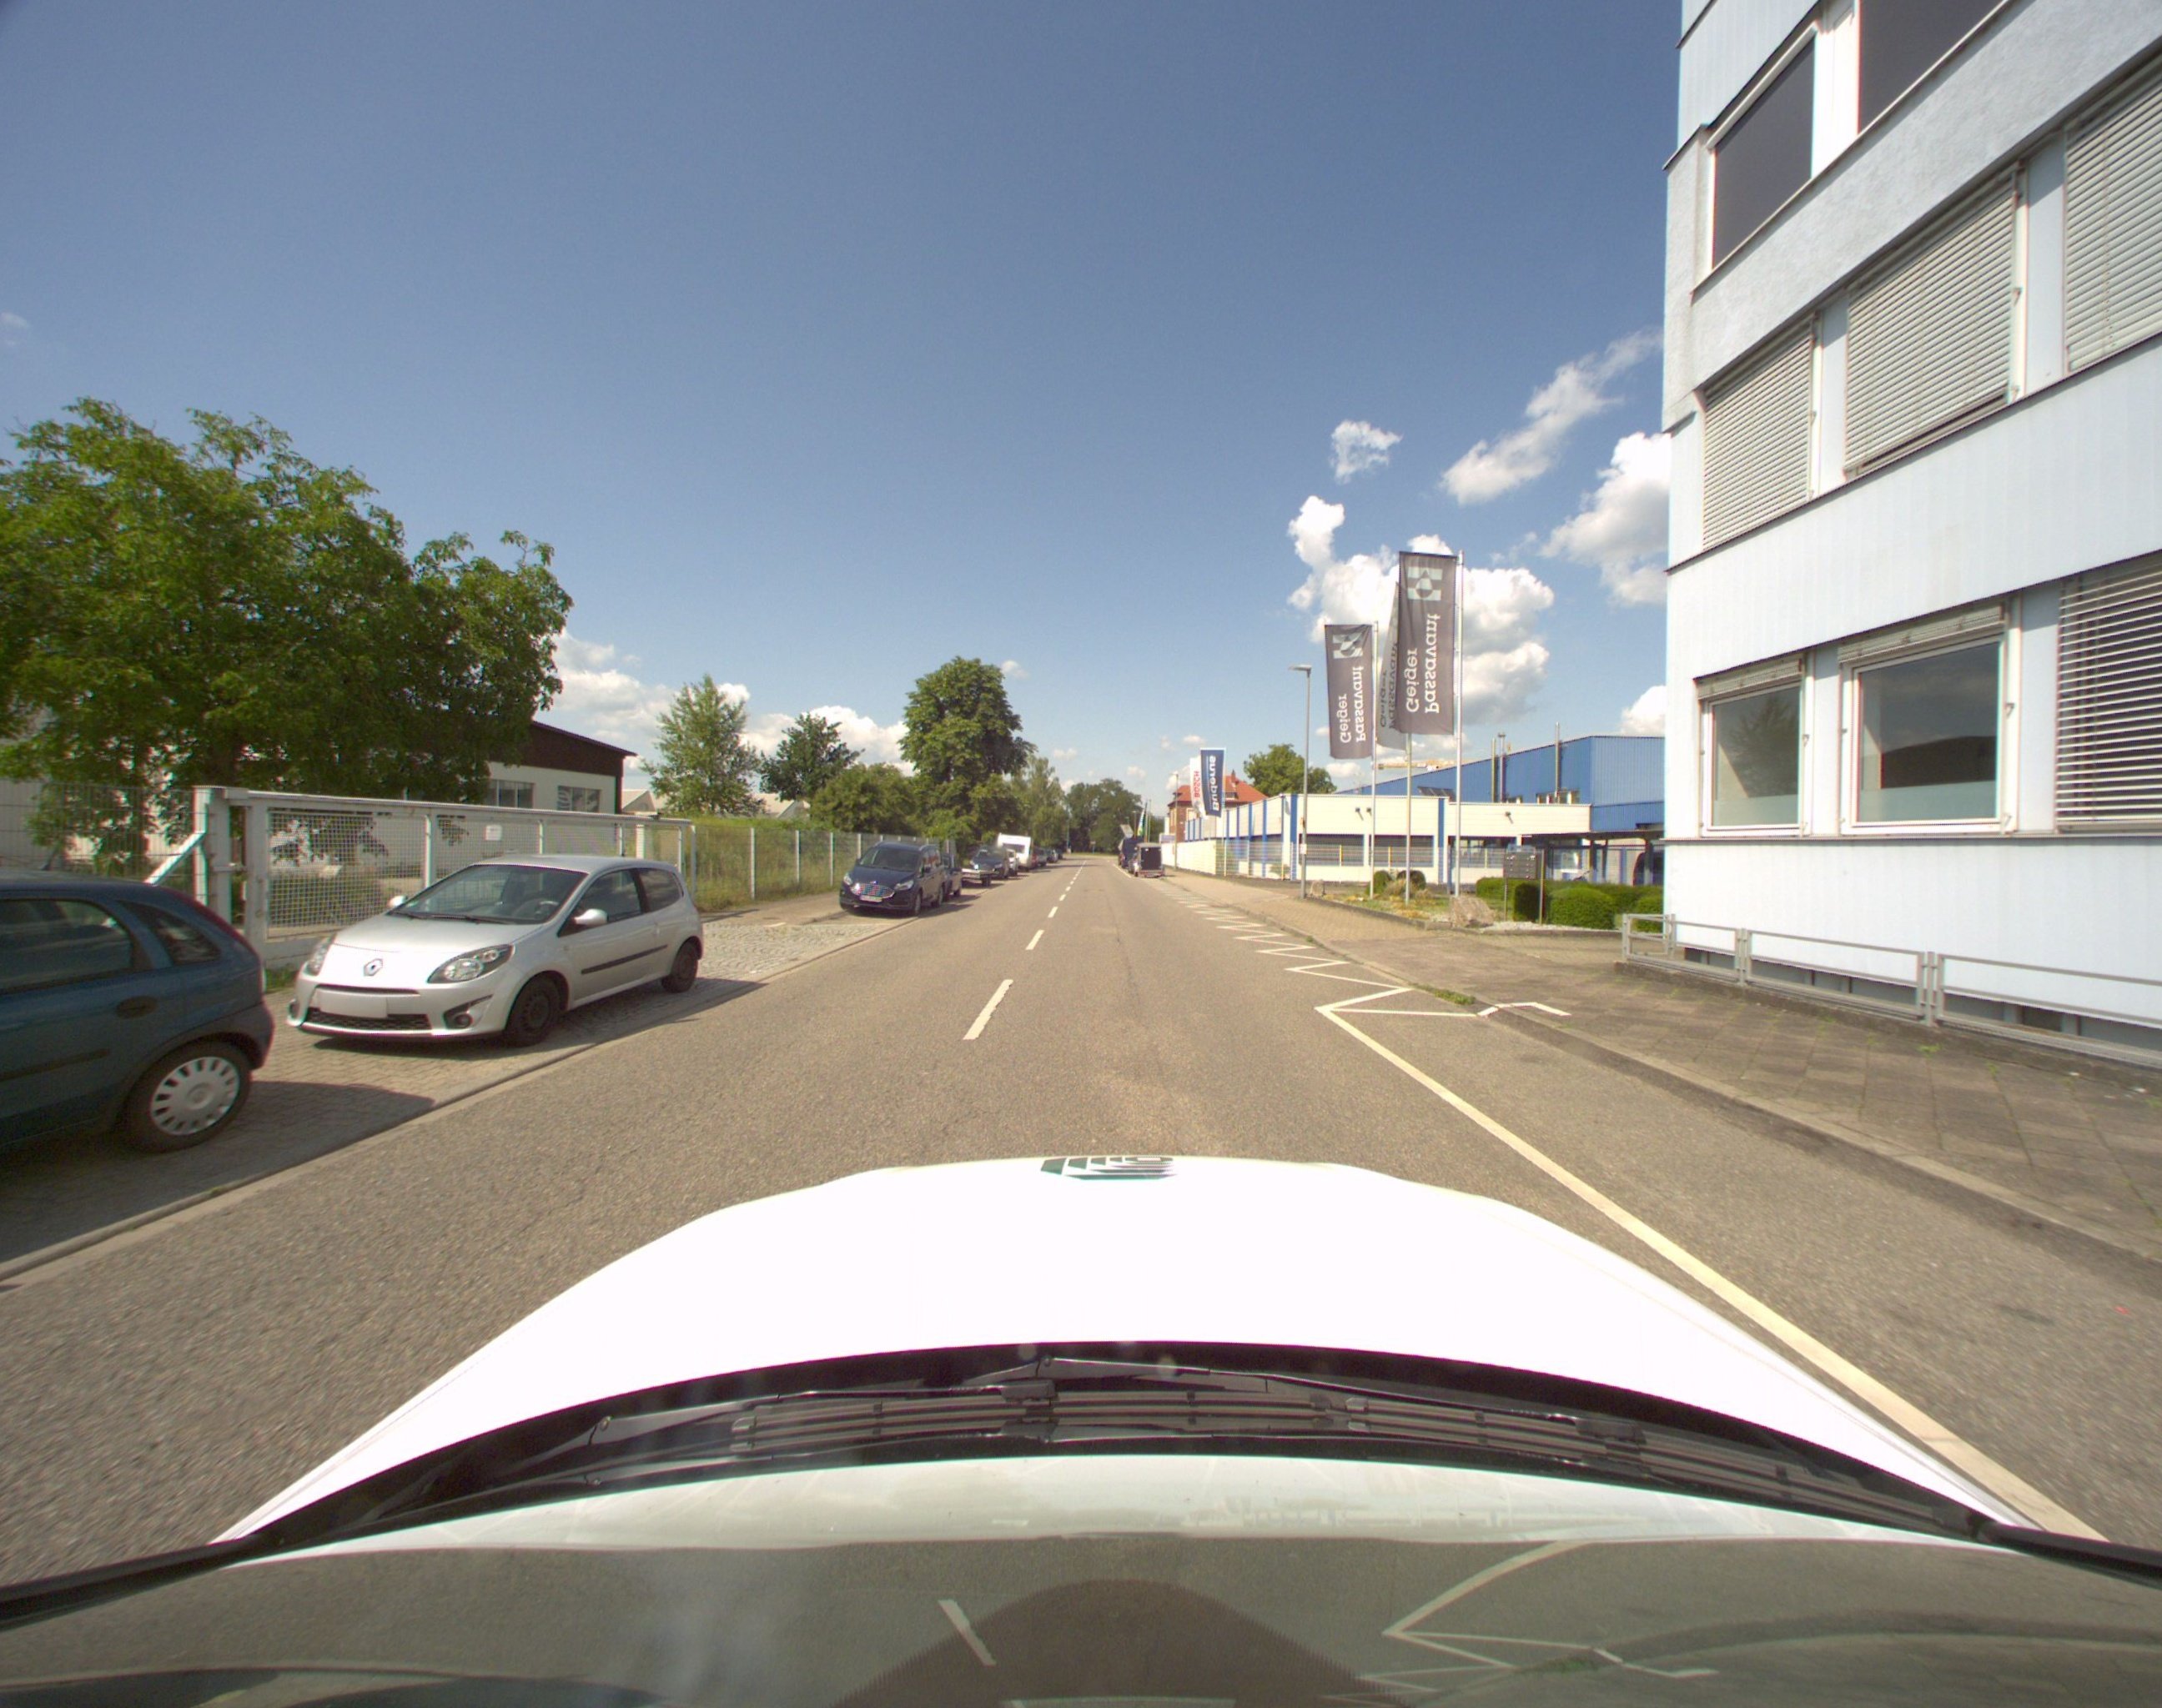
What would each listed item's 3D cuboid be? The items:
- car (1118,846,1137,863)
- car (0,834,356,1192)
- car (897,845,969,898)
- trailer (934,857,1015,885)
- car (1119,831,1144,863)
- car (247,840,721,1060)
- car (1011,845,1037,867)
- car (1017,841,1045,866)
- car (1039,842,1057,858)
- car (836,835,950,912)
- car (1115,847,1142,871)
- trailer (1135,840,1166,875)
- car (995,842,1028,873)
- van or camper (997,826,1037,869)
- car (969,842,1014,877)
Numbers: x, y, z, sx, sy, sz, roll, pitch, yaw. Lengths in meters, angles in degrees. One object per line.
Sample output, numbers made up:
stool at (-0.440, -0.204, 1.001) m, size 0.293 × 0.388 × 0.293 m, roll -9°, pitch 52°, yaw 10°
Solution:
car at (4.787, 0.017, 84.601) m, size 1.818 × 1.664 × 4.557 m, roll 0°, pitch 0°, yaw 1°
car at (-5.366, 0.680, 3.106) m, size 1.562 × 1.399 × 3.801 m, roll 6°, pitch 1°, yaw 3°
car at (-4.663, 0.502, 26.175) m, size 1.572 × 1.512 × 4.199 m, roll 2°, pitch 0°, yaw -1°
trailer at (-4.517, 0.677, 35.822) m, size 2.262 × 0.883 × 7.136 m, roll 5°, pitch 0°, yaw 2°
car at (4.415, -0.626, 72.367) m, size 1.931 × 2.748 × 6.155 m, roll 0°, pitch 1°, yaw 1°
car at (-5.086, 0.665, 7.673) m, size 1.610 × 1.483 × 3.710 m, roll 3°, pitch 1°, yaw 1°
car at (-4.541, 0.154, 65.761) m, size 1.619 × 1.532 × 4.269 m, roll 5°, pitch 0°, yaw 1°
car at (-4.403, -0.023, 72.094) m, size 1.892 × 1.954 × 4.958 m, roll 6°, pitch 0°, yaw 1°
car at (-3.807, -0.447, 93.403) m, size 1.604 × 1.745 × 4.639 m, roll 3°, pitch 1°, yaw 2°
car at (-4.692, 0.424, 21.053) m, size 1.795 × 1.749 × 4.713 m, roll 1°, pitch 0°, yaw 0°
car at (3.189, 0.293, 54.878) m, size 1.567 × 1.507 × 4.133 m, roll 2°, pitch 0°, yaw 0°
trailer at (4.160, 0.193, 48.769) m, size 1.596 × 2.037 × 2.741 m, roll 2°, pitch 0°, yaw 0°
car at (-4.258, 0.198, 50.459) m, size 1.679 × 1.692 × 4.441 m, roll 5°, pitch 0°, yaw -2°
van or camper at (-4.598, -0.483, 59.506) m, size 2.256 × 2.803 × 6.831 m, roll 5°, pitch 0°, yaw -1°
car at (-4.742, 0.256, 43.830) m, size 1.821 × 1.793 × 4.735 m, roll 1°, pitch 0°, yaw 0°
